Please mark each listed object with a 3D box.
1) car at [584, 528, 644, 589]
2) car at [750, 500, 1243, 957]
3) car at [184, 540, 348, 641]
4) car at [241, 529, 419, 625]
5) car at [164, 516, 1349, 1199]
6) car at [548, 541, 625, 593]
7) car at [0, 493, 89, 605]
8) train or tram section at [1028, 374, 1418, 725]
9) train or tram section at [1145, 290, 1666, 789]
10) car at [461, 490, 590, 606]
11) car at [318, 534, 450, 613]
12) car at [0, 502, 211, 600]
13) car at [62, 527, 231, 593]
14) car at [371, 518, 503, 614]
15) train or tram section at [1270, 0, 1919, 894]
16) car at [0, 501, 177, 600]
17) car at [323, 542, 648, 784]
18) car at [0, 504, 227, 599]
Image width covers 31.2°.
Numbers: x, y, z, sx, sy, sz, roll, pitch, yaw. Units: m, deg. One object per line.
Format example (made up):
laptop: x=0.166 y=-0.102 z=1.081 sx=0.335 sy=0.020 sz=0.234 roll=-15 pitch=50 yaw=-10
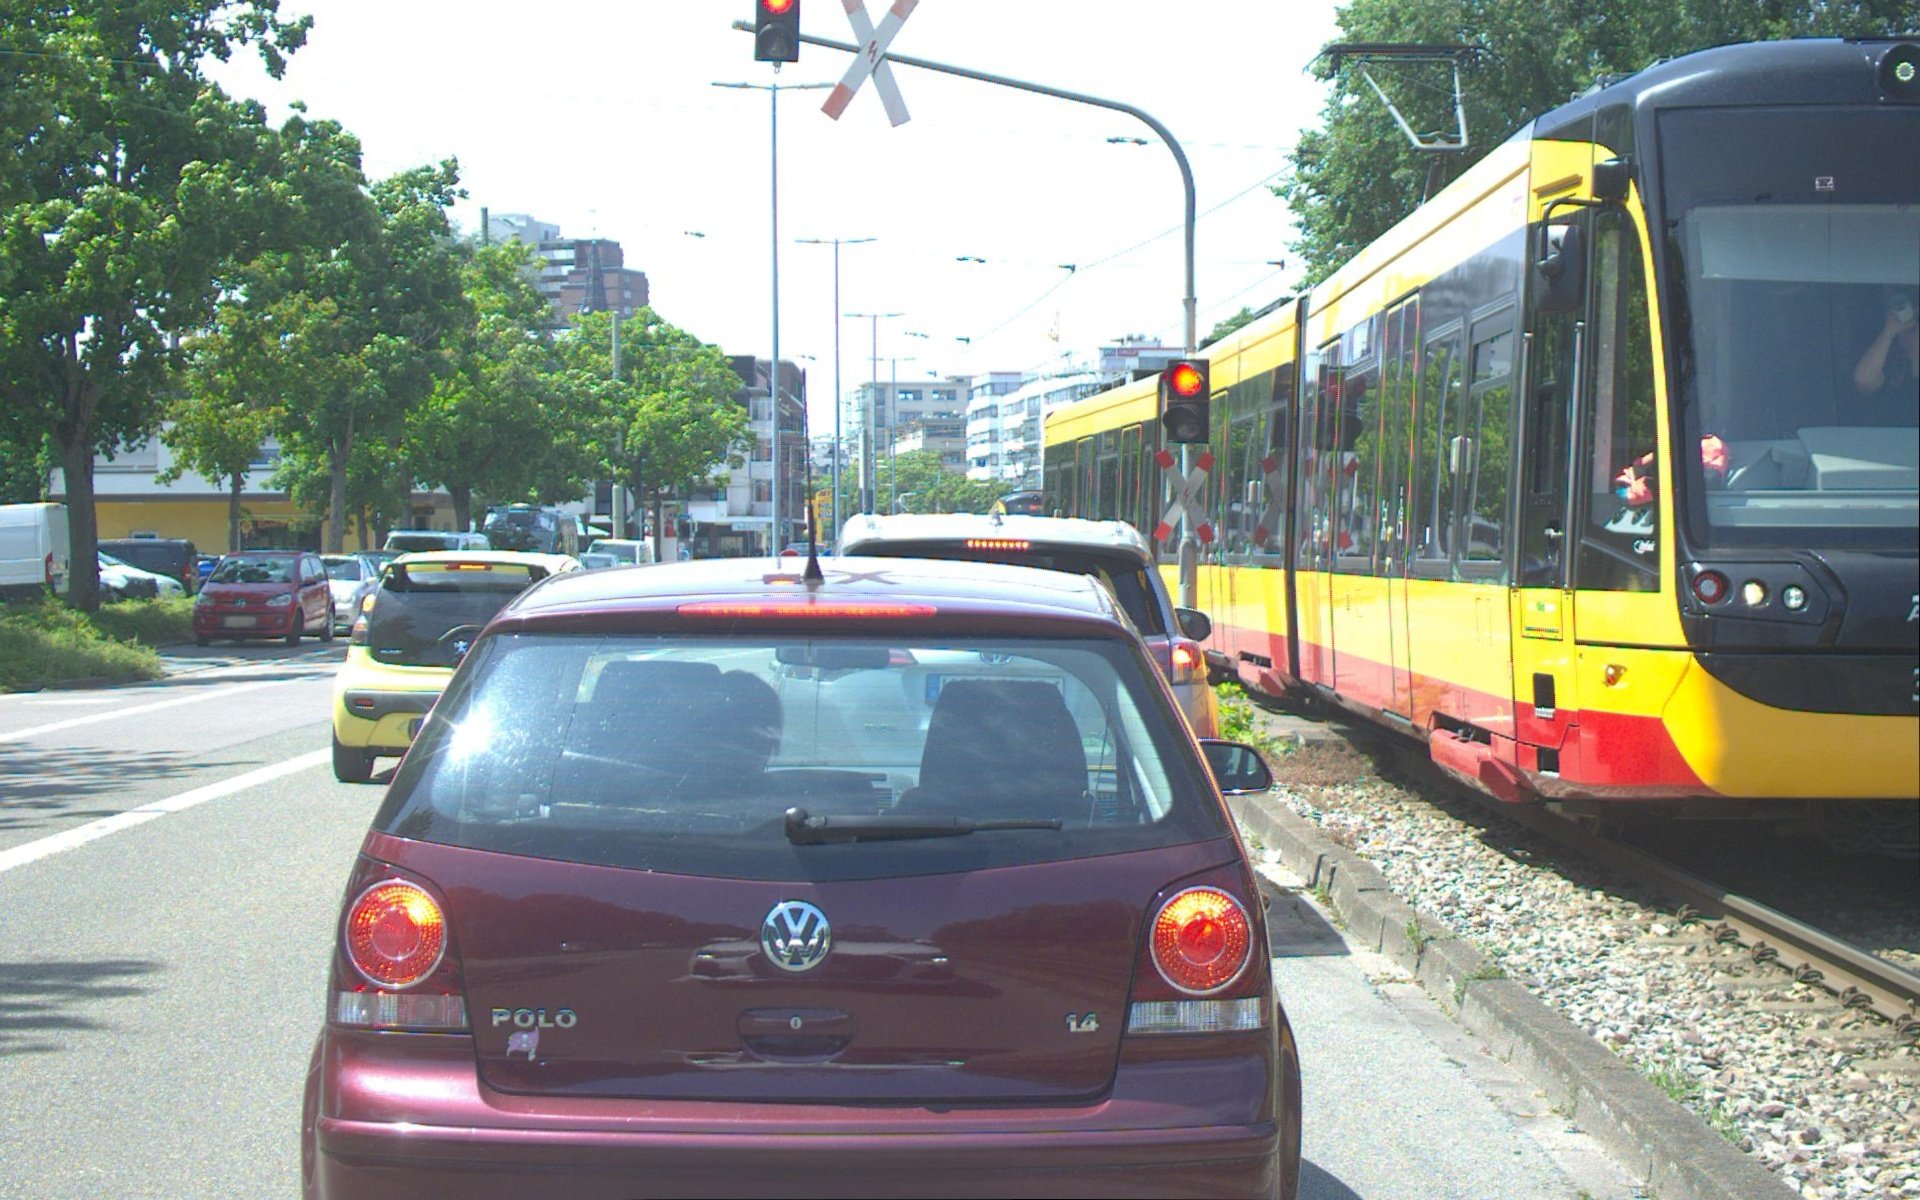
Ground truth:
car: x=-10.807 y=-1.300 z=107.517 sx=1.774 sy=1.822 sz=4.001 roll=2 pitch=0 yaw=-6
car: x=0.086 y=0.434 z=14.649 sx=1.777 sy=1.641 sz=4.000 roll=1 pitch=1 yaw=-1
car: x=-10.938 y=-0.153 z=54.409 sx=1.663 sy=1.491 sz=4.000 roll=2 pitch=0 yaw=1
car: x=-11.115 y=-0.401 z=60.956 sx=1.976 sy=1.595 sz=4.557 roll=2 pitch=0 yaw=4
car: x=-0.341 y=0.616 z=6.922 sx=1.672 sy=1.516 sz=4.000 roll=1 pitch=1 yaw=-1
car: x=-11.007 y=-0.961 z=101.490 sx=1.614 sy=1.436 sz=4.000 roll=2 pitch=0 yaw=3
car: x=-20.874 y=-1.095 z=70.949 sx=5.097 sy=2.237 sz=2.378 roll=2 pitch=0 yaw=1
train or tram section: x=2.867 y=-0.652 z=41.429 sx=2.740 sy=3.597 sz=10.952 roll=2 pitch=1 yaw=-5
train or tram section: x=3.587 y=-0.565 z=30.848 sx=2.740 sy=3.597 sz=10.951 roll=2 pitch=1 yaw=-2
car: x=-10.597 y=-1.238 z=84.231 sx=2.361 sy=2.683 sz=5.307 roll=2 pitch=0 yaw=0
car: x=-11.047 y=-0.506 z=66.152 sx=1.614 sy=1.436 sz=4.000 roll=2 pitch=0 yaw=3
car: x=-21.310 y=-1.205 z=84.741 sx=5.097 sy=2.237 sz=2.378 roll=2 pitch=0 yaw=1
car: x=-21.686 y=-1.067 z=91.746 sx=4.020 sy=1.611 sz=1.816 roll=2 pitch=0 yaw=1
car: x=-10.787 y=-0.686 z=71.193 sx=1.783 sy=1.875 sz=4.785 roll=2 pitch=0 yaw=2
train or tram section: x=3.744 y=-0.834 z=19.266 sx=2.741 sy=3.597 sz=12.870 roll=2 pitch=1 yaw=0
car: x=-21.593 y=-1.200 z=82.269 sx=5.097 sy=2.237 sz=2.378 roll=2 pitch=0 yaw=1
car: x=-3.027 y=0.353 z=22.521 sx=1.690 sy=1.406 sz=3.516 roll=1 pitch=1 yaw=-1
car: x=-21.455 y=-1.224 z=87.275 sx=5.097 sy=2.237 sz=2.378 roll=2 pitch=0 yaw=1
